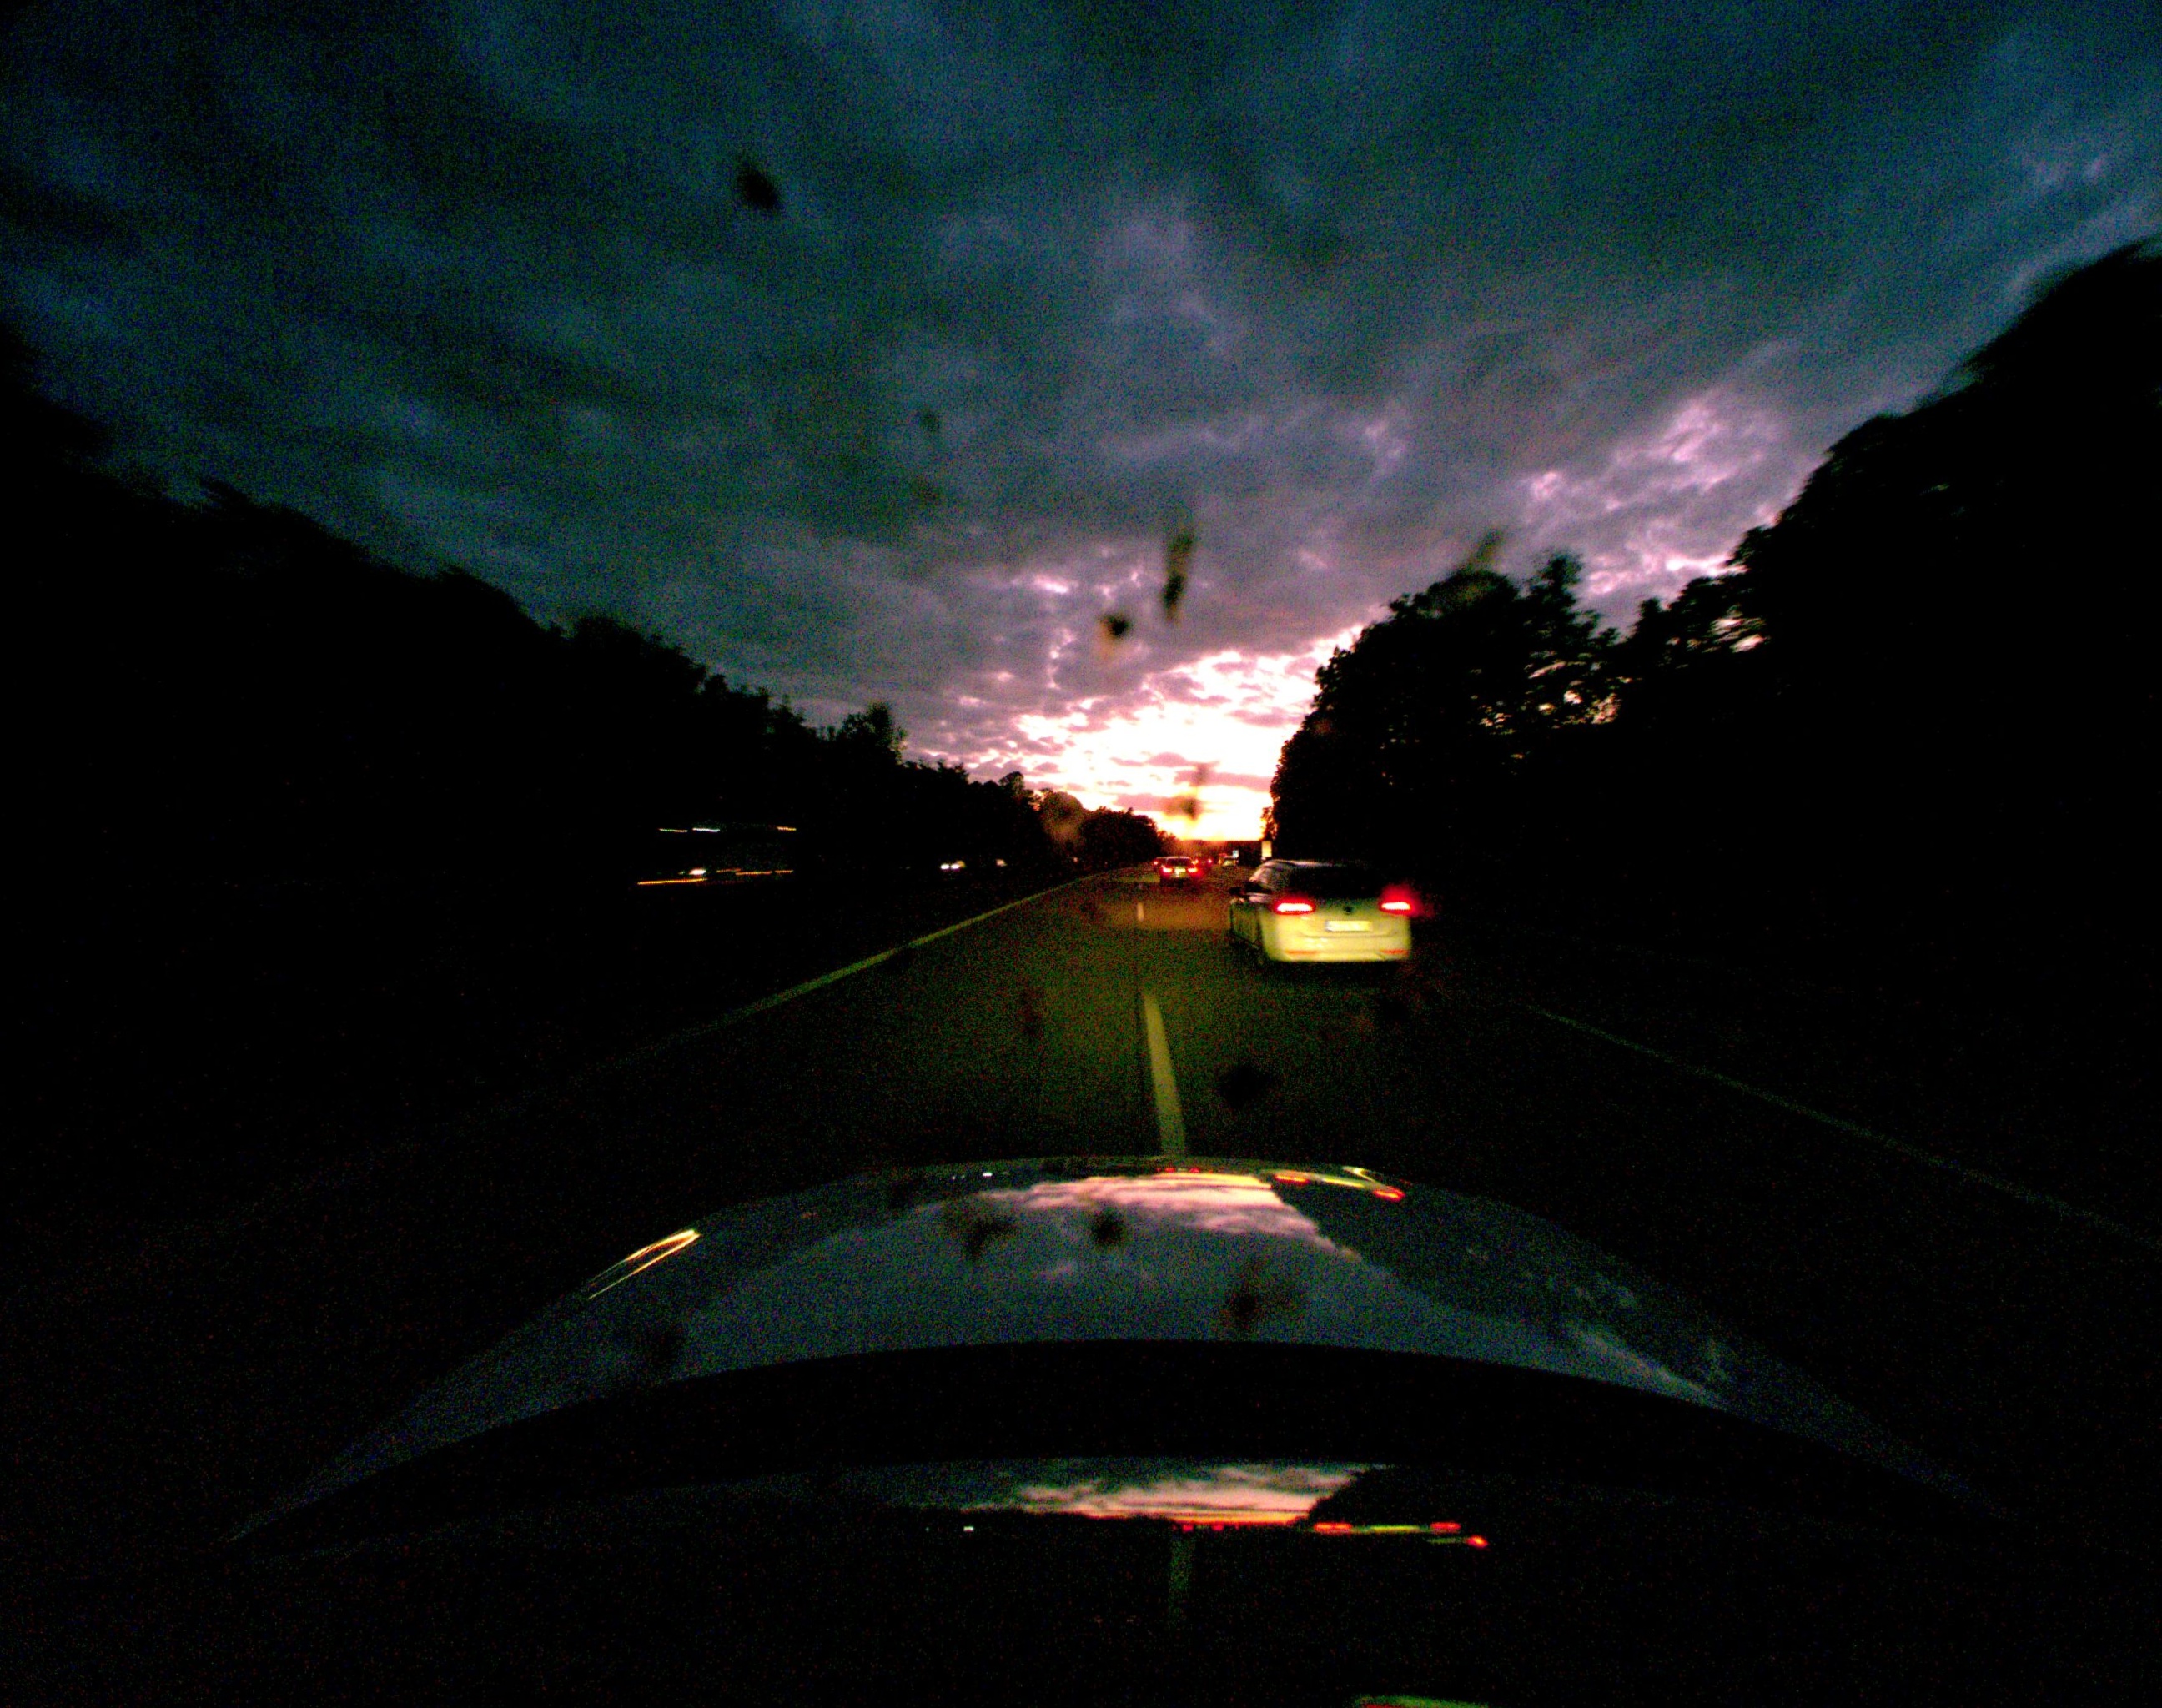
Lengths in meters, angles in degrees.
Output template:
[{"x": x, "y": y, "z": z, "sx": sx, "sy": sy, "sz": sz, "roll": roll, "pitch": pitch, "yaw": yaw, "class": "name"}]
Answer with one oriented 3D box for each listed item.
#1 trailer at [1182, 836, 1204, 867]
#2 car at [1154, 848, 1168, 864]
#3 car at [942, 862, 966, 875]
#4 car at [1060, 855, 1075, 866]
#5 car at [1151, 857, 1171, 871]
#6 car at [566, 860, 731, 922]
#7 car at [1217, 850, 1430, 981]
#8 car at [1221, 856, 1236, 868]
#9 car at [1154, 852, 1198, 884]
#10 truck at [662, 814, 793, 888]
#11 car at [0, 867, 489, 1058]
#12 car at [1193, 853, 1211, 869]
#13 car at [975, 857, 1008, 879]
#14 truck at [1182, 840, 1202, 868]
[{"x": 16.502, "y": -0.274, "z": 120.153, "sx": 2.892, "sy": 4.101, "sz": 10.374, "roll": 0, "pitch": -2, "yaw": 6, "class": "trailer"}, {"x": 12.294, "y": 0.338, "z": 125.439, "sx": 2.155, "sy": 2.419, "sz": 5.571, "roll": -1, "pitch": -2, "yaw": 6, "class": "car"}, {"x": -16.164, "y": 1.842, "z": 103.843, "sx": 1.842, "sy": 1.497, "sz": 4.601, "roll": -1, "pitch": 0, "yaw": 5, "class": "car"}, {"x": -2.161, "y": 0.983, "z": 131.878, "sx": 1.984, "sy": 1.705, "sz": 4.556, "roll": -1, "pitch": 0, "yaw": 5, "class": "car"}, {"x": 8.631, "y": 1.025, "z": 87.729, "sx": 1.852, "sy": 1.442, "sz": 3.721, "roll": -1, "pitch": 0, "yaw": 1, "class": "car"}, {"x": -11.298, "y": 0.889, "z": 21.718, "sx": 1.732, "sy": 1.411, "sz": 4.808, "roll": -1, "pitch": 0, "yaw": 1, "class": "car"}, {"x": 3.193, "y": 0.697, "z": 11.870, "sx": 1.801, "sy": 1.466, "sz": 5.136, "roll": -1, "pitch": 0, "yaw": 3, "class": "car"}, {"x": 19.168, "y": 1.003, "z": 105.729, "sx": 1.847, "sy": 1.442, "sz": 4.124, "roll": -1, "pitch": -2, "yaw": 11, "class": "car"}, {"x": 4.902, "y": 0.699, "z": 42.493, "sx": 1.901, "sy": 1.537, "sz": 5.235, "roll": -1, "pitch": 0, "yaw": 3, "class": "car"}, {"x": -21.192, "y": -0.130, "z": 49.749, "sx": 2.633, "sy": 4.011, "sz": 10.557, "roll": -1, "pitch": 0, "yaw": 4, "class": "truck"}, {"x": -8.940, "y": 0.912, "z": 8.670, "sx": 1.986, "sy": 1.436, "sz": 4.374, "roll": -1, "pitch": 0, "yaw": 1, "class": "car"}, {"x": 13.236, "y": 0.790, "z": 88.951, "sx": 1.891, "sy": 1.643, "sz": 5.065, "roll": -1, "pitch": -1, "yaw": 10, "class": "car"}, {"x": -7.082, "y": 1.073, "z": 64.925, "sx": 1.986, "sy": 1.600, "sz": 4.823, "roll": -1, "pitch": 0, "yaw": 1, "class": "car"}, {"x": 17.684, "y": 0.056, "z": 130.666, "sx": 2.870, "sy": 4.101, "sz": 10.849, "roll": 0, "pitch": -2, "yaw": 6, "class": "truck"}]
